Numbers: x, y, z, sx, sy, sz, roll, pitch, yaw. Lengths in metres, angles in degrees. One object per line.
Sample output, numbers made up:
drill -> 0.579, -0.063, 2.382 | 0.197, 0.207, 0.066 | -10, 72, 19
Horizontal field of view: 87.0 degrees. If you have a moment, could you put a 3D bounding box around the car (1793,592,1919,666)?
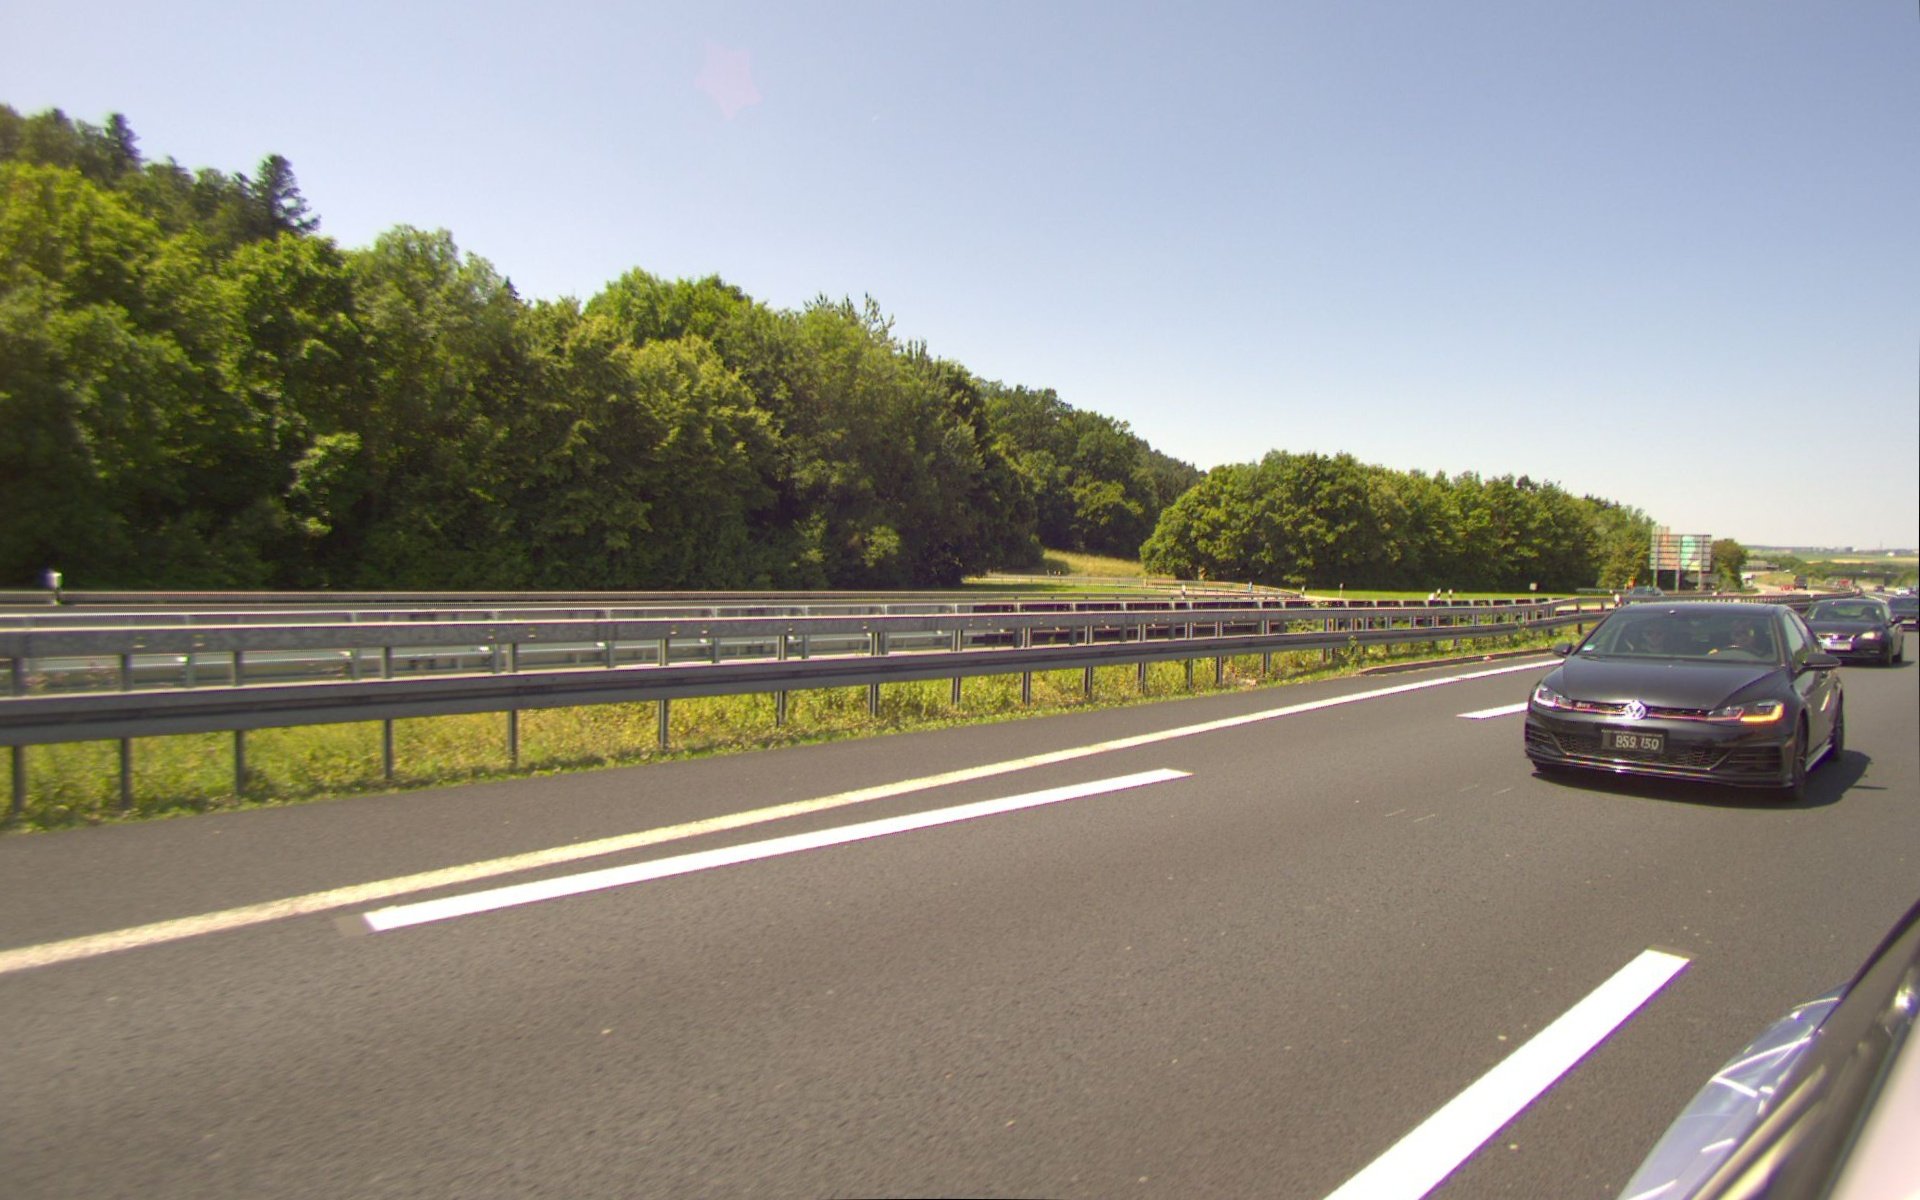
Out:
car -> 19.959, 0.574, 22.444 | 3.697, 1.417, 1.779 | -1, 2, -42

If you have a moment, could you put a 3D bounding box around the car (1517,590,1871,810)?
car -> 6.459, 0.646, 8.741 | 3.900, 1.453, 1.796 | -1, 1, -43

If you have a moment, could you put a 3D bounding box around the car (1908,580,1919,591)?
car -> 176.071, -2.687, 186.265 | 3.932, 2.039, 1.996 | 0, 2, -42

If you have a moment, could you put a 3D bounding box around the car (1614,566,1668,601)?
car -> 41.338, -1.013, 61.379 | 3.935, 2.039, 1.995 | -1, 2, -45

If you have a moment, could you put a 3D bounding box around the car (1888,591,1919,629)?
car -> 40.135, 0.397, 42.342 | 1.886, 1.491, 3.808 | 1, 2, 42
